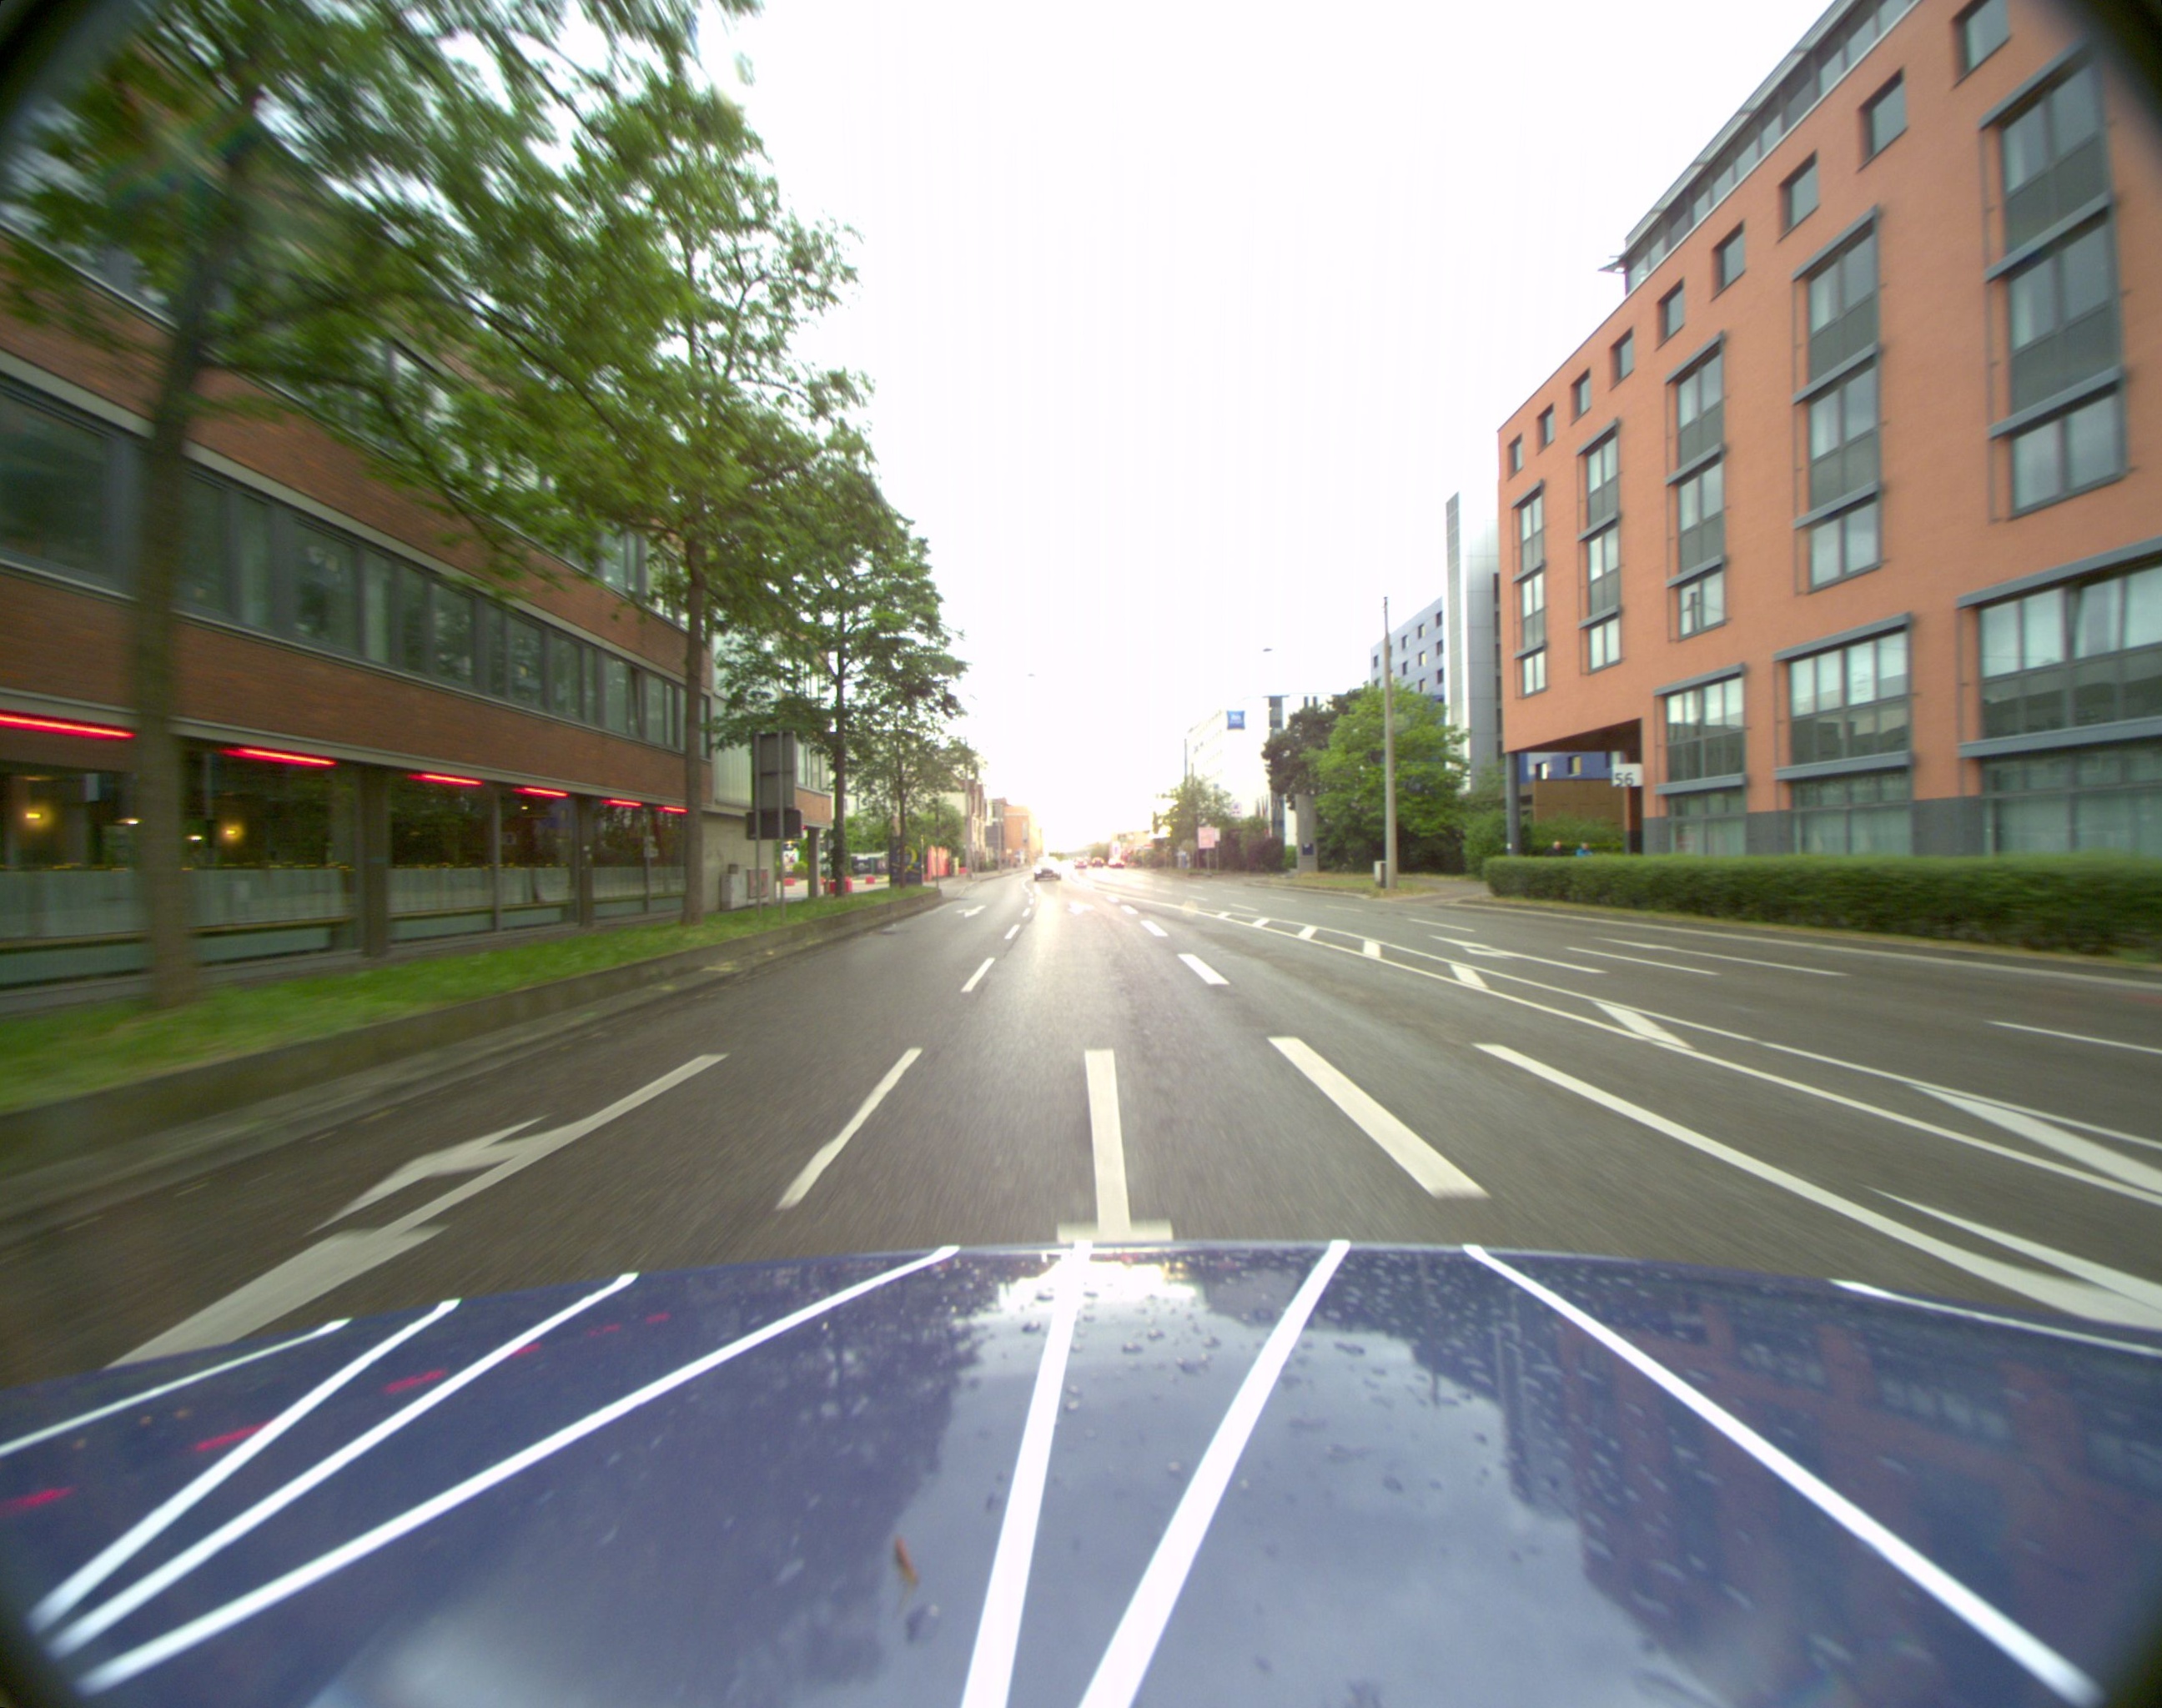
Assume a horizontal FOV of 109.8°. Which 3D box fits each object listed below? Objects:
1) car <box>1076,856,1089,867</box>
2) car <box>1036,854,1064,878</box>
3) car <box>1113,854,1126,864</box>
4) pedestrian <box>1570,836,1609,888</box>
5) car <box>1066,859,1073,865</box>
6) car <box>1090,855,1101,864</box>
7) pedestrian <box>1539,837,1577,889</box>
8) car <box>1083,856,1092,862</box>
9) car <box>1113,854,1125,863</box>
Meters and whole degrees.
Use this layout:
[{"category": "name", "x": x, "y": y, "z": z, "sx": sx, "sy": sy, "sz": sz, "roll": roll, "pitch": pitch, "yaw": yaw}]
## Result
[{"category": "car", "x": 0.176, "y": 1.115, "z": 117.712, "sx": 1.998, "sy": 1.543, "sz": 4.000, "roll": -1, "pitch": 0, "yaw": 0}, {"category": "car", "x": -2.374, "y": 0.891, "z": 57.170, "sx": 1.999, "sy": 1.656, "sz": 5.423, "roll": -1, "pitch": 0, "yaw": -3}, {"category": "car", "x": 6.326, "y": 0.872, "z": 125.342, "sx": 1.767, "sy": 1.559, "sz": 3.999, "roll": 1, "pitch": 0, "yaw": -3}, {"category": "pedestrian", "x": 18.314, "y": 0.286, "z": 27.363, "sx": 0.747, "sy": 1.830, "sz": 0.885, "roll": -2, "pitch": 1, "yaw": -1}, {"category": "car", "x": -2.869, "y": 2.063, "z": 191.580, "sx": 1.799, "sy": 1.501, "sz": 4.000, "roll": 0, "pitch": -1, "yaw": 0}, {"category": "car", "x": 2.563, "y": 1.000, "z": 135.224, "sx": 1.998, "sy": 1.543, "sz": 4.000, "roll": -1, "pitch": 0, "yaw": 0}, {"category": "pedestrian", "x": 17.217, "y": 0.314, "z": 27.459, "sx": 0.747, "sy": 1.830, "sz": 0.885, "roll": -2, "pitch": 1, "yaw": -1}, {"category": "car", "x": 1.550, "y": 1.170, "z": 178.235, "sx": 1.998, "sy": 1.543, "sz": 4.000, "roll": -1, "pitch": 0, "yaw": 0}, {"category": "car", "x": 6.700, "y": 0.806, "z": 133.298, "sx": 1.767, "sy": 1.559, "sz": 3.999, "roll": 1, "pitch": 0, "yaw": -2}]
